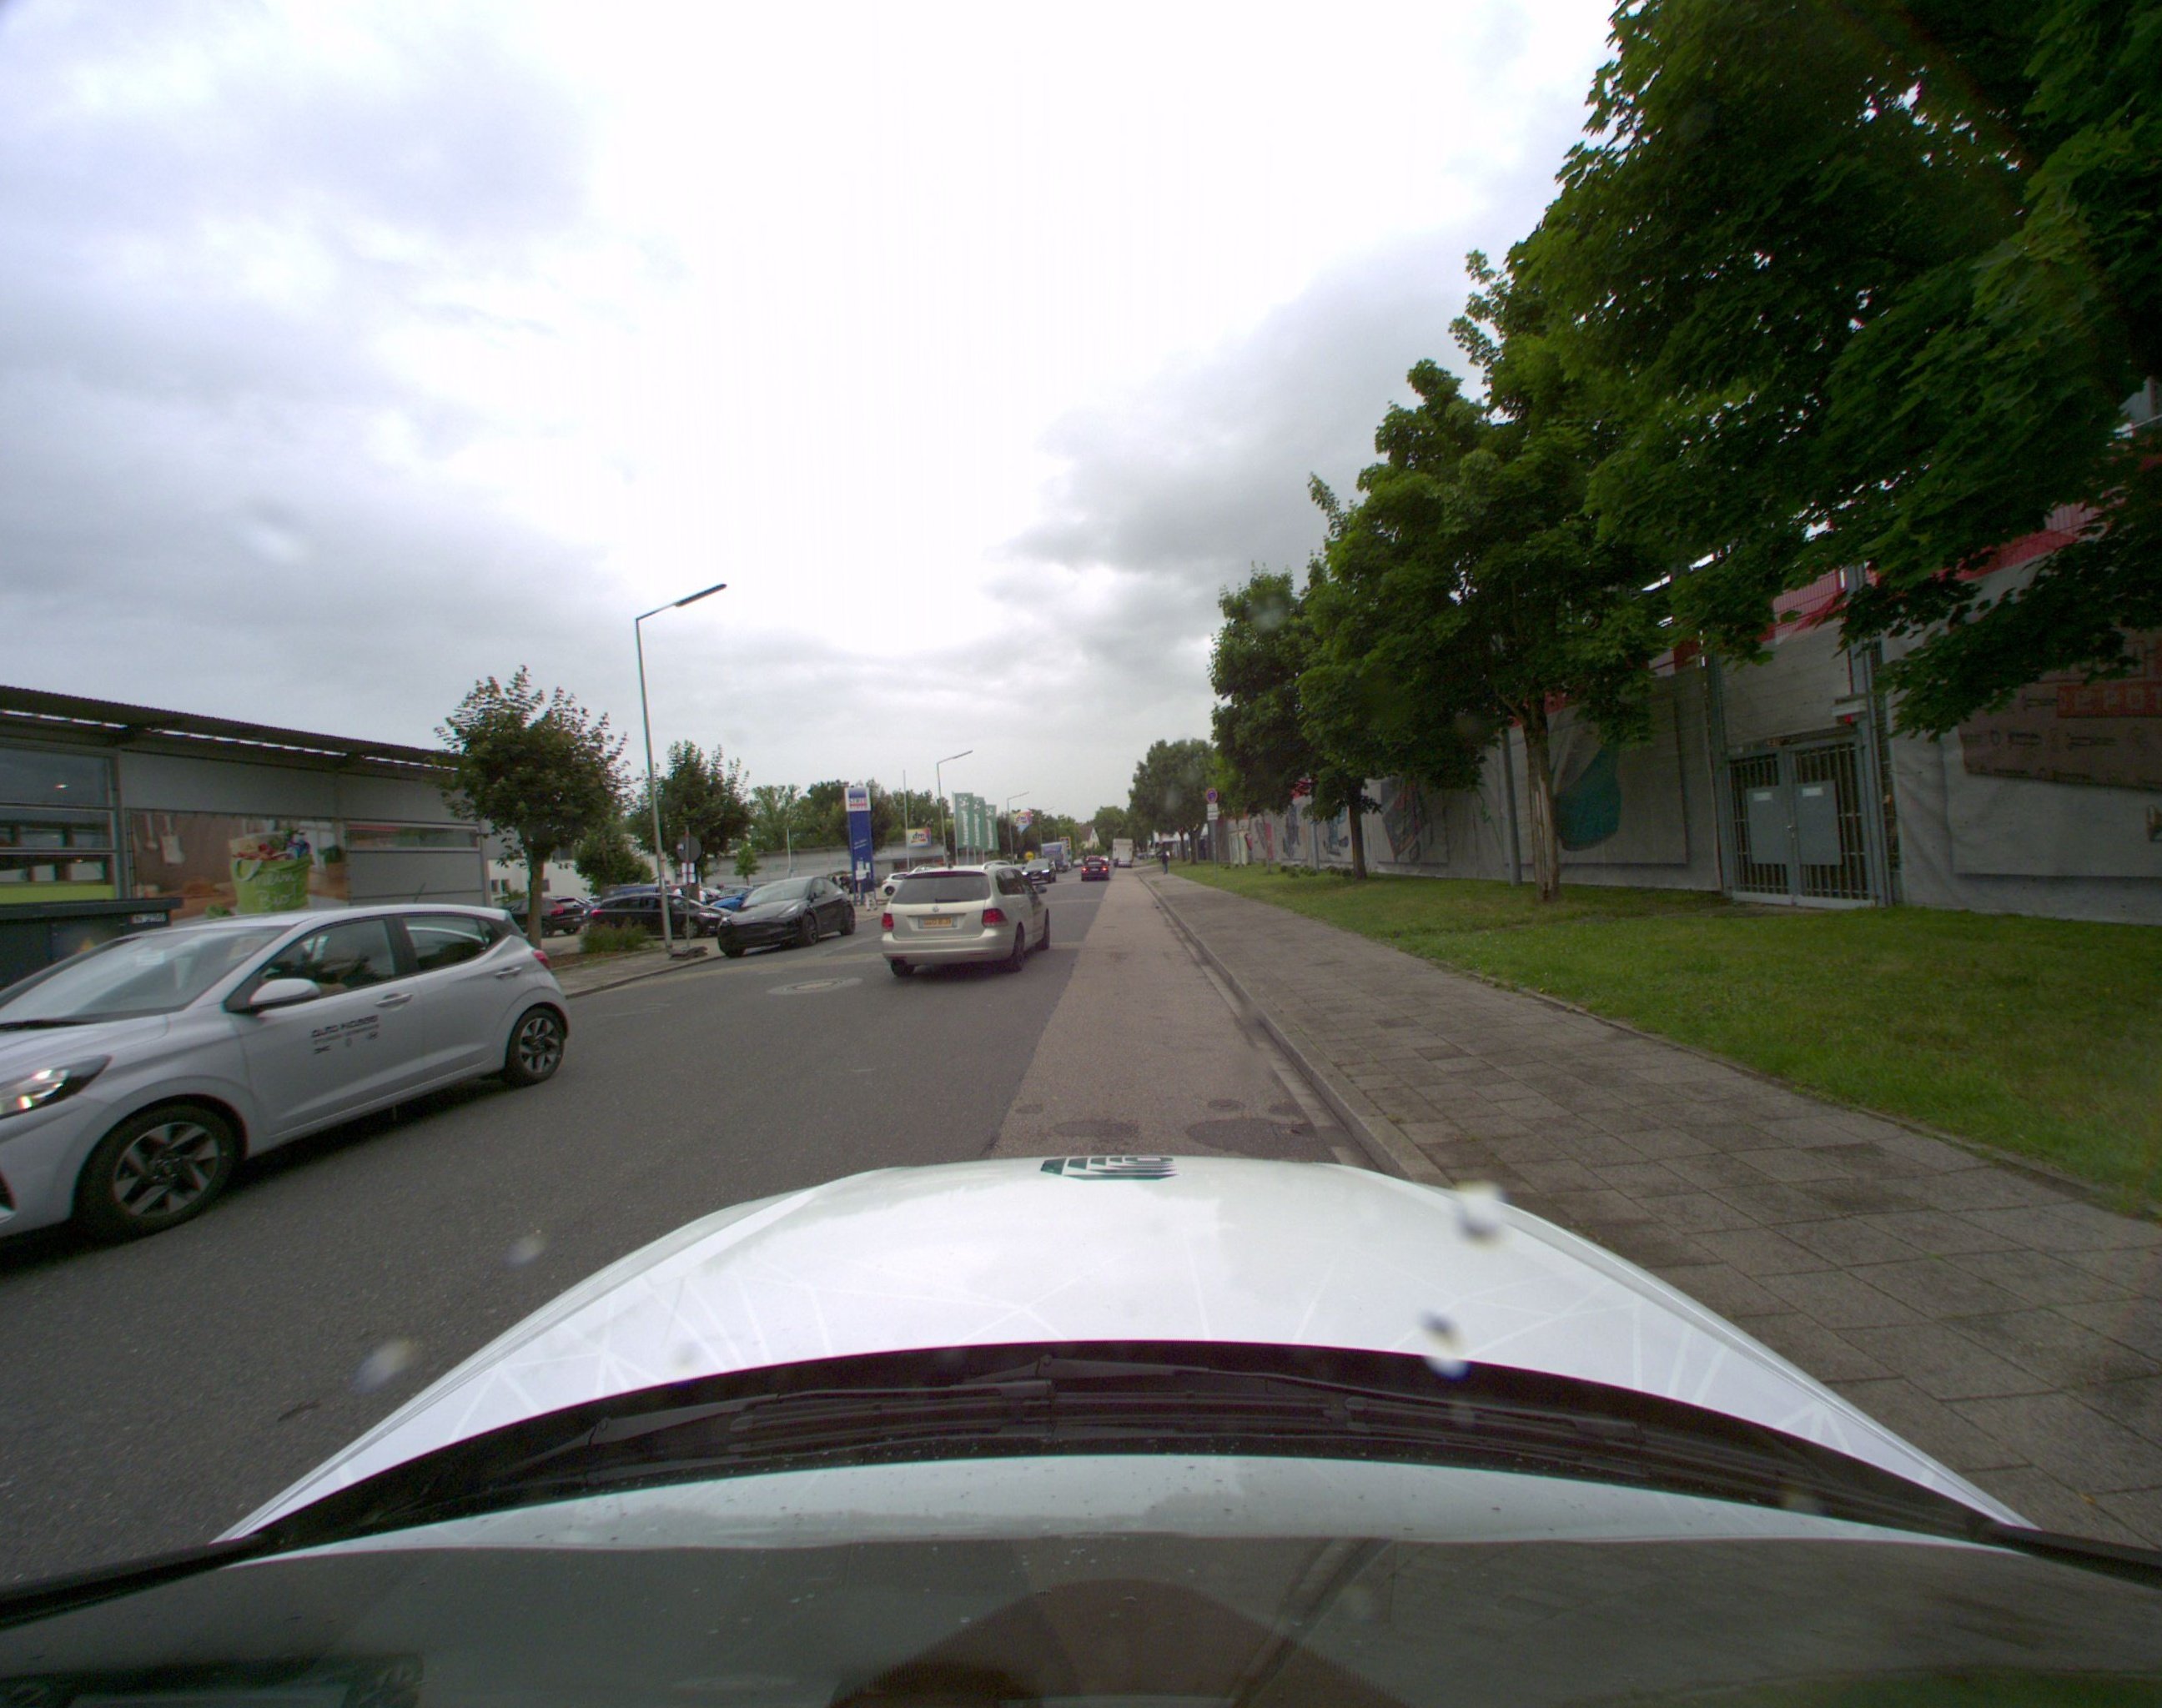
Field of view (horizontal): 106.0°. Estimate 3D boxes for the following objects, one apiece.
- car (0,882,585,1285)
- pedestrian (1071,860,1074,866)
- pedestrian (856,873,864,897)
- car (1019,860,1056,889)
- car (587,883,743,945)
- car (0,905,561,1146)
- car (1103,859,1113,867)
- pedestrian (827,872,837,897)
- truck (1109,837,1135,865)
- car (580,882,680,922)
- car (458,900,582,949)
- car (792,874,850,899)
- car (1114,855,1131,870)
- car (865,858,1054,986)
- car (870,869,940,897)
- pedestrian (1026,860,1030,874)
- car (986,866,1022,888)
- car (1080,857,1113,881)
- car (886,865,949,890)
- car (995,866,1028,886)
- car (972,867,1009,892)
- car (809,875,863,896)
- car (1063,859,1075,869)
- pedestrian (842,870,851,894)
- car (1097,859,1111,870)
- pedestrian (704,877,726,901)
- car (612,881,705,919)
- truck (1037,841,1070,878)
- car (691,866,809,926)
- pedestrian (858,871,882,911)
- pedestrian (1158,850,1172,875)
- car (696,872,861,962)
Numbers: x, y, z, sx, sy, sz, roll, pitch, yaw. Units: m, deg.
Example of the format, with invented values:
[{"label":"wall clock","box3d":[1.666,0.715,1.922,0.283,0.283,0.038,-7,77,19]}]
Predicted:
[{"label":"car","box3d":[-5.052,1.056,5.017,1.593,1.528,3.530,-6,-1,2]},{"label":"pedestrian","box3d":[-1.359,1.494,130.754,0.248,0.976,0.344,-3,-1,12]},{"label":"pedestrian","box3d":[-14.364,2.024,52.955,0.330,1.570,0.502,-3,-1,-9]},{"label":"car","box3d":[-2.813,1.318,53.698,1.986,1.684,4.001,-5,0,2]},{"label":"car","box3d":[-13.063,1.863,25.742,3.857,1.620,1.929,-3,0,3]},{"label":"car","box3d":[-7.799,1.468,8.359,1.692,1.367,4.520,-9,-1,2]},{"label":"car","box3d":[5.713,1.895,174.195,1.878,1.531,4.258,-5,0,4]},{"label":"pedestrian","box3d":[-16.379,2.004,53.545,0.456,1.642,0.372,-4,-1,-15]},{"label":"truck","box3d":[5.528,-0.338,111.479,3.123,3.585,10.053,-3,-1,2]},{"label":"car","box3d":[-23.161,2.447,41.933,3.971,1.669,1.878,-5,0,2]},{"label":"car","box3d":[-22.841,2.837,33.287,4.018,1.485,1.856,-5,-1,-35]},{"label":"car","box3d":[-21.071,2.654,66.151,3.971,1.669,1.878,-5,0,2]},{"label":"car","box3d":[5.196,1.103,102.159,1.986,1.806,4.001,-3,-1,2]},{"label":"car","box3d":[-1.547,0.841,11.989,1.745,1.451,4.303,-3,0,5]},{"label":"car","box3d":[-11.656,1.897,54.208,4.197,1.463,1.949,-5,-1,-5]},{"label":"pedestrian","box3d":[-6.242,1.531,95.882,0.401,1.531,0.485,-4,-1,-3]},{"label":"car","box3d":[-5.503,1.635,58.314,1.890,1.367,4.003,-4,0,3]},{"label":"car","box3d":[1.063,0.972,52.769,1.737,1.358,4.143,-4,-1,5]},{"label":"car","box3d":[-11.868,1.720,59.142,4.126,1.463,1.896,-4,-1,-3]},{"label":"car","box3d":[-5.408,1.716,63.810,1.890,1.367,4.003,-4,0,3]},{"label":"car","box3d":[-5.763,1.608,52.126,1.893,1.367,3.998,-5,0,-1]},{"label":"car","box3d":[-21.001,2.679,69.934,3.970,1.492,1.788,-4,-1,3]},{"label":"car","box3d":[-1.896,1.564,132.405,1.699,1.546,3.622,-3,-1,2]},{"label":"pedestrian","box3d":[-15.386,1.844,53.480,0.359,1.570,0.502,-4,-1,-8]},{"label":"car","box3d":[3.390,1.547,120.767,1.878,1.531,4.258,-2,0,4]},{"label":"pedestrian","box3d":[-31.956,3.064,71.182,1.394,2.013,1.197,-4,-1,-37]},{"label":"car","box3d":[-22.973,2.475,44.343,3.971,1.669,1.878,-5,0,2]},{"label":"truck","box3d":[-3.207,0.654,97.329,2.961,3.955,6.410,-6,-1,3]},{"label":"car","box3d":[-13.388,1.671,33.089,3.923,2.013,1.758,-5,-1,-5]},{"label":"pedestrian","box3d":[-9.342,1.620,36.033,0.773,1.715,0.696,-4,-1,-2]},{"label":"pedestrian","box3d":[5.848,0.598,56.711,0.915,1.635,0.854,-3,-1,4]},{"label":"car","box3d":[-6.868,1.350,19.094,1.940,1.526,4.404,-8,-1,1]}]
